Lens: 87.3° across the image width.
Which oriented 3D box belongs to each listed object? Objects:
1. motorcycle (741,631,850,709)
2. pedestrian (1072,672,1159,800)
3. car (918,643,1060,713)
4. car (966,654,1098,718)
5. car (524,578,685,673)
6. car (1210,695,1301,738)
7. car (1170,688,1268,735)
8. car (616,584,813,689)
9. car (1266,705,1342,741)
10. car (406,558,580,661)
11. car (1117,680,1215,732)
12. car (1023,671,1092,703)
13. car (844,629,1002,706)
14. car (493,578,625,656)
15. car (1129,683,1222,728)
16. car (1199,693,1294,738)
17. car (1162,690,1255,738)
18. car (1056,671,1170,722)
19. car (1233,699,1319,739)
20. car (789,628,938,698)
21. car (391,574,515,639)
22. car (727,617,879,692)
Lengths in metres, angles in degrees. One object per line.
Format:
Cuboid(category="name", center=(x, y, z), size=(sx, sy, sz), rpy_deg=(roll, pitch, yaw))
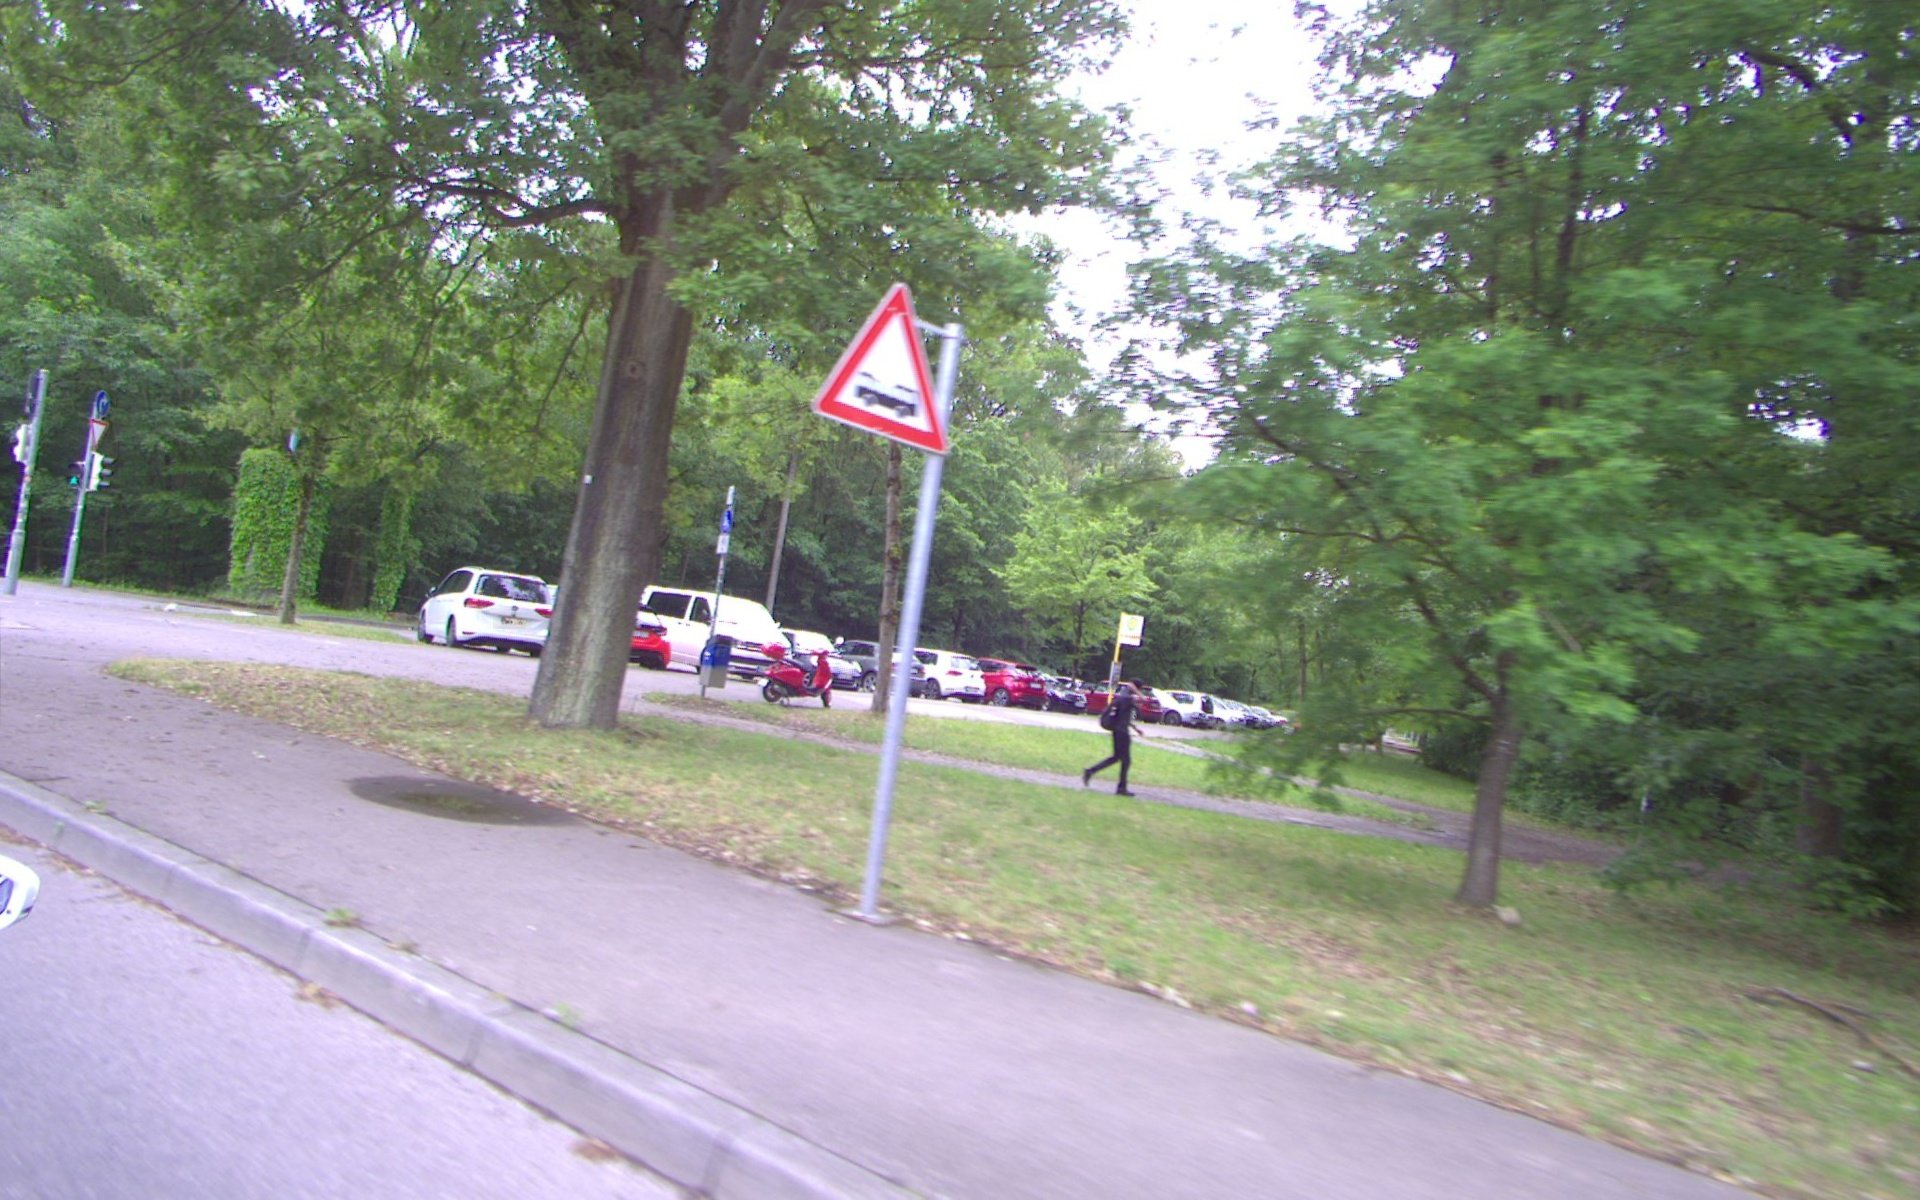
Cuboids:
Cuboid(category="motorcycle", center=(-3.061, 1.336, 18.883), size=(0.582, 1.217, 1.951), rpy_deg=(6, -4, 42))
Cuboid(category="pedestrian", center=(2.297, 1.978, 14.800), size=(1.016, 1.669, 0.835), rpy_deg=(8, -2, 12))
Cuboid(category="car", center=(0.834, 2.363, 30.941), size=(1.811, 1.511, 4.149), rpy_deg=(11, -4, -44))
Cuboid(category="car", center=(2.311, 2.807, 33.013), size=(1.756, 1.472, 4.018), rpy_deg=(11, -4, -44))
Cuboid(category="car", center=(-7.830, 0.517, 21.974), size=(1.883, 1.568, 3.957), rpy_deg=(11, -4, -40))
Cuboid(category="car", center=(14.381, 5.662, 49.036), size=(3.717, 1.443, 1.753), rpy_deg=(6, -4, 40))
Cuboid(category="car", center=(11.470, 4.937, 44.648), size=(3.717, 1.443, 1.753), rpy_deg=(6, -4, 40))
Cuboid(category="car", center=(-5.938, 0.804, 23.925), size=(2.053, 1.977, 5.122), rpy_deg=(11, -6, -44))
Cuboid(category="car", center=(19.566, 6.976, 57.215), size=(3.767, 1.443, 1.658), rpy_deg=(7, -3, 29))
Cuboid(category="car", center=(-9.533, 0.143, 20.343), size=(1.988, 1.568, 4.373), rpy_deg=(11, -4, -40))
Cuboid(category="car", center=(7.847, 4.043, 38.433), size=(3.237, 1.445, 1.514), rpy_deg=(6, -4, 41))
Cuboid(category="car", center=(5.304, 4.742, 54.893), size=(3.385, 1.232, 1.555), rpy_deg=(6, -4, 41))
Cuboid(category="car", center=(-1.143, 1.932, 29.366), size=(4.472, 1.574, 1.836), rpy_deg=(5, -4, 43))
Cuboid(category="car", center=(-13.057, 0.504, 32.574), size=(4.887, 1.898, 1.991), rpy_deg=(5, -4, 45))
Cuboid(category="car", center=(8.726, 4.256, 40.817), size=(3.237, 1.275, 1.514), rpy_deg=(6, -4, 41))
Cuboid(category="car", center=(13.322, 5.361, 46.866), size=(3.717, 1.443, 1.753), rpy_deg=(6, -4, 40))
Cuboid(category="car", center=(10.428, 4.762, 42.233), size=(3.334, 1.456, 1.517), rpy_deg=(6, -4, 38))
Cuboid(category="car", center=(5.584, 3.524, 36.883), size=(3.717, 1.280, 1.617), rpy_deg=(6, -4, 37))
Cuboid(category="car", center=(16.142, 6.088, 51.508), size=(3.717, 1.443, 1.653), rpy_deg=(6, -4, 40))
Cuboid(category="car", center=(-2.702, 1.698, 27.607), size=(1.811, 1.339, 4.079), rpy_deg=(11, -4, -44))
Cuboid(category="car", center=(-15.512, 0.185, 30.722), size=(3.792, 1.435, 1.817), rpy_deg=(6, -4, 39))
Cuboid(category="car", center=(-4.063, 1.364, 25.716), size=(3.885, 1.342, 1.714), rpy_deg=(5, -4, 44))
